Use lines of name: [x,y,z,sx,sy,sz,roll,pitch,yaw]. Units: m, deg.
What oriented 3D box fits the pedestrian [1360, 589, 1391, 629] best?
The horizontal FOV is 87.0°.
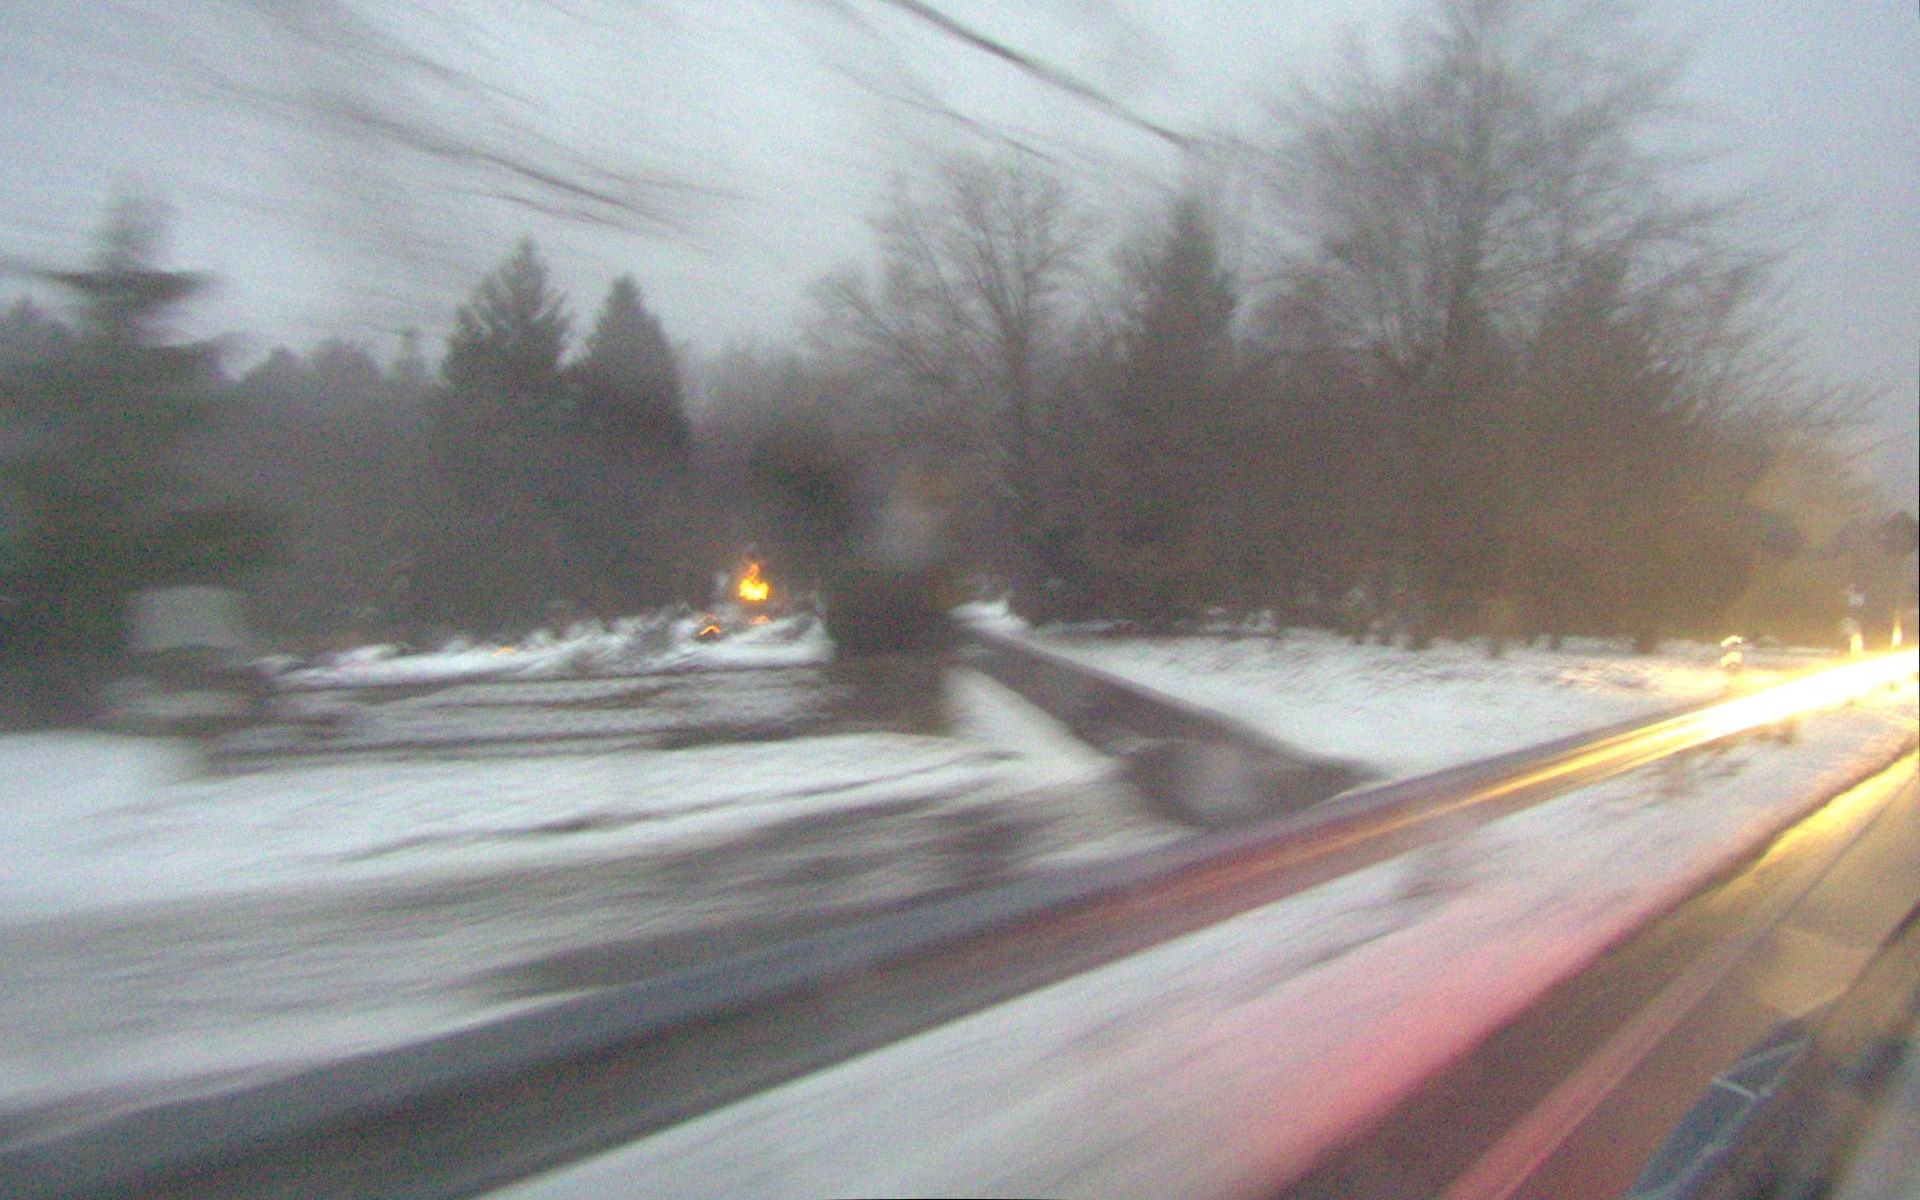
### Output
pedestrian: [19.870,0.425,48.426,0.943,1.851,0.927,2,-2,-16]
